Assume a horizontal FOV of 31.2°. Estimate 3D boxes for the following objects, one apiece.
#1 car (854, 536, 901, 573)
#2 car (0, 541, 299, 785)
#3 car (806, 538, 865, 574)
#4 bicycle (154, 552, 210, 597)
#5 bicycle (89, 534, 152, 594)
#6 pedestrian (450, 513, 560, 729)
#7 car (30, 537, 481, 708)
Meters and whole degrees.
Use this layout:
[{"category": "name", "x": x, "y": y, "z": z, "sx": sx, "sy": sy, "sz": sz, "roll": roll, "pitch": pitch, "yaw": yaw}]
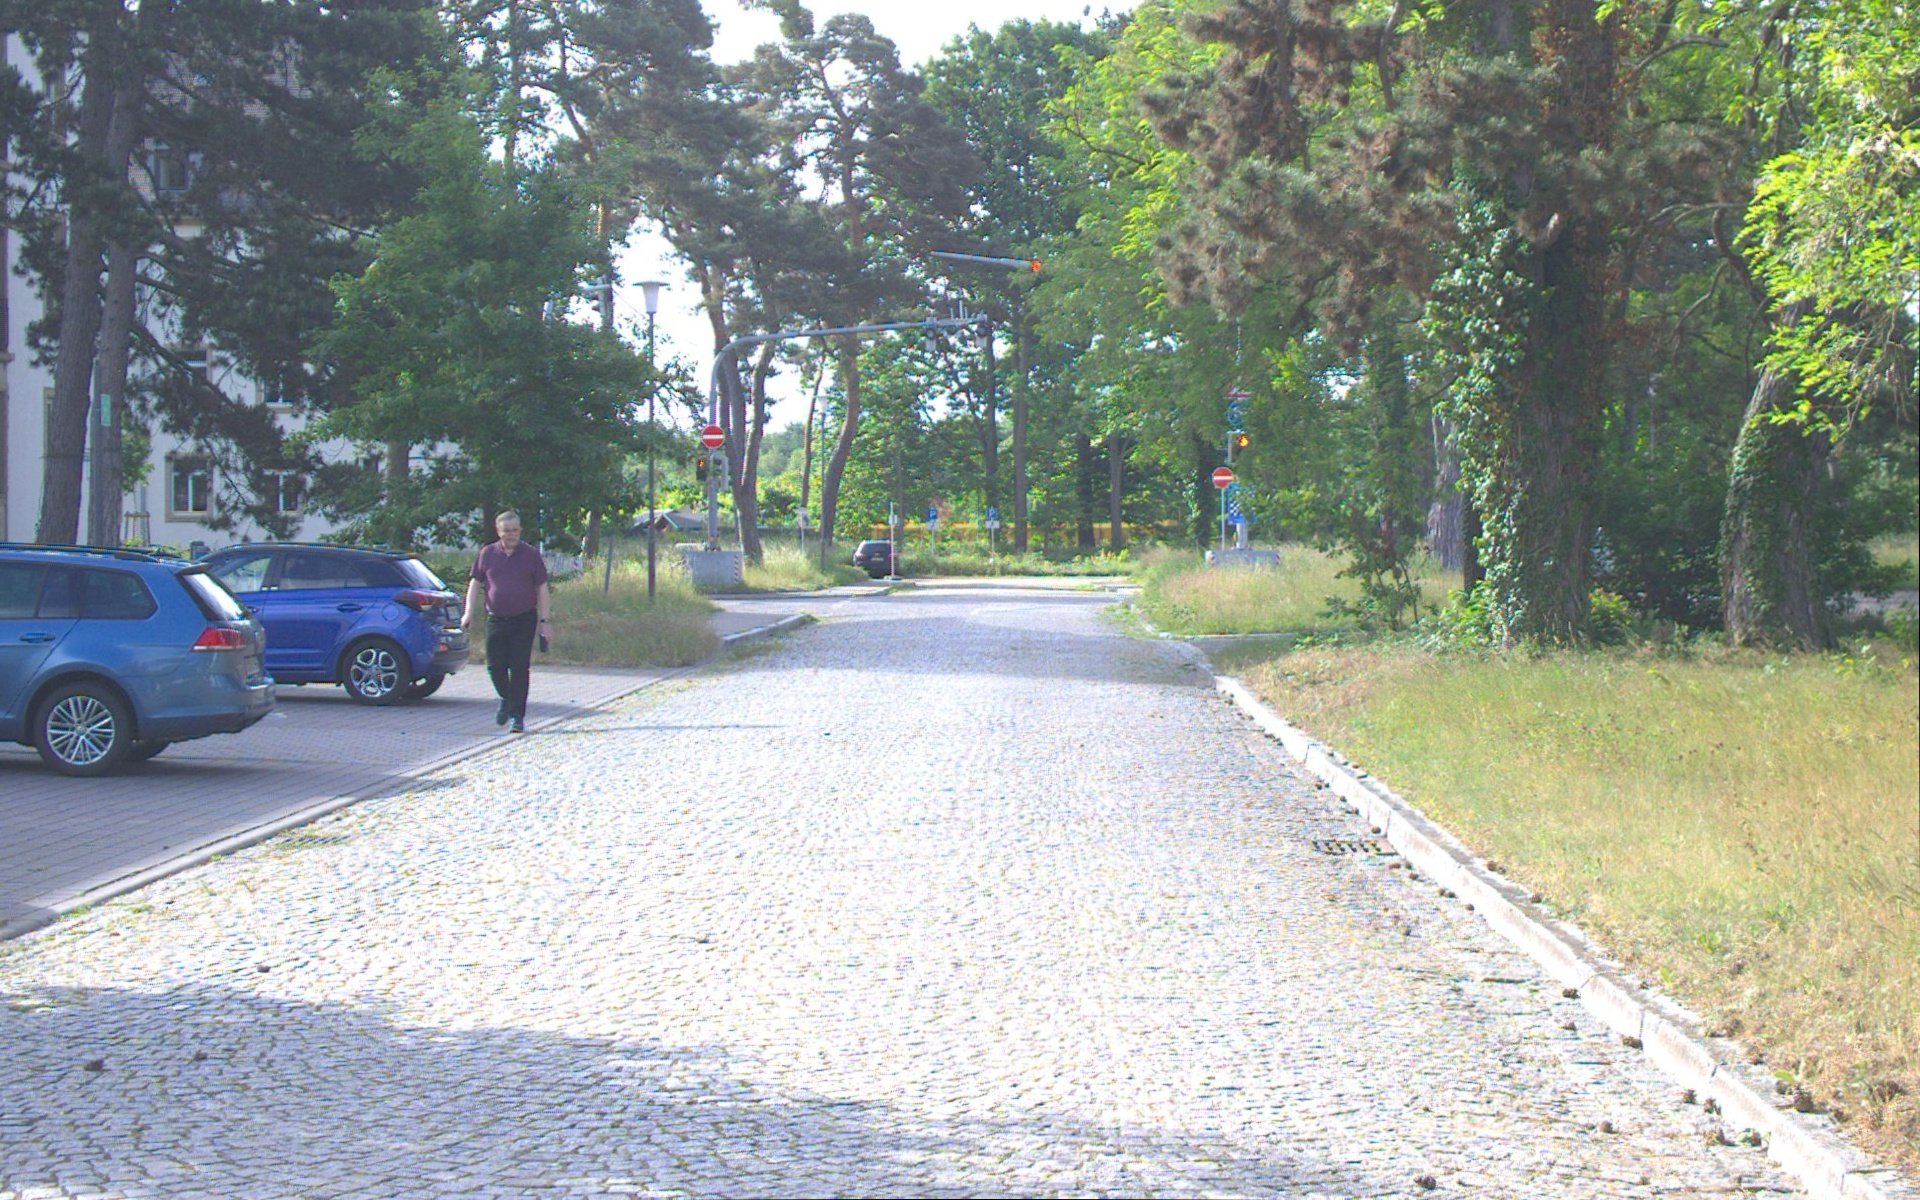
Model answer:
[{"category": "car", "x": -3.306, "y": -1.853, "z": 138.589, "sx": 1.845, "sy": 1.481, "sz": 4.000, "roll": 0, "pitch": 1, "yaw": -1}, {"category": "car", "x": -6.709, "y": 0.361, "z": 22.935, "sx": 4.256, "sy": 1.459, "sz": 1.681, "roll": 2, "pitch": 3, "yaw": -1}, {"category": "car", "x": -5.177, "y": -1.862, "z": 143.468, "sx": 1.783, "sy": 1.485, "sz": 3.754, "roll": 0, "pitch": 1, "yaw": 8}, {"category": "bicycle", "x": -18.716, "y": -0.625, "z": 82.782, "sx": 0.826, "sy": 1.043, "sz": 2.124, "roll": 0, "pitch": 1, "yaw": 1}, {"category": "bicycle", "x": -20.285, "y": -0.874, "z": 83.120, "sx": 0.826, "sy": 1.432, "sz": 2.554, "roll": 0, "pitch": 1, "yaw": 1}, {"category": "pedestrian", "x": -3.785, "y": 0.161, "z": 28.661, "sx": 0.804, "sy": 1.765, "sz": 1.153, "roll": 0, "pitch": 1, "yaw": -3}, {"category": "car", "x": -6.615, "y": 0.195, "z": 32.512, "sx": 3.836, "sy": 1.459, "sz": 1.719, "roll": 2, "pitch": 1, "yaw": 3}]
